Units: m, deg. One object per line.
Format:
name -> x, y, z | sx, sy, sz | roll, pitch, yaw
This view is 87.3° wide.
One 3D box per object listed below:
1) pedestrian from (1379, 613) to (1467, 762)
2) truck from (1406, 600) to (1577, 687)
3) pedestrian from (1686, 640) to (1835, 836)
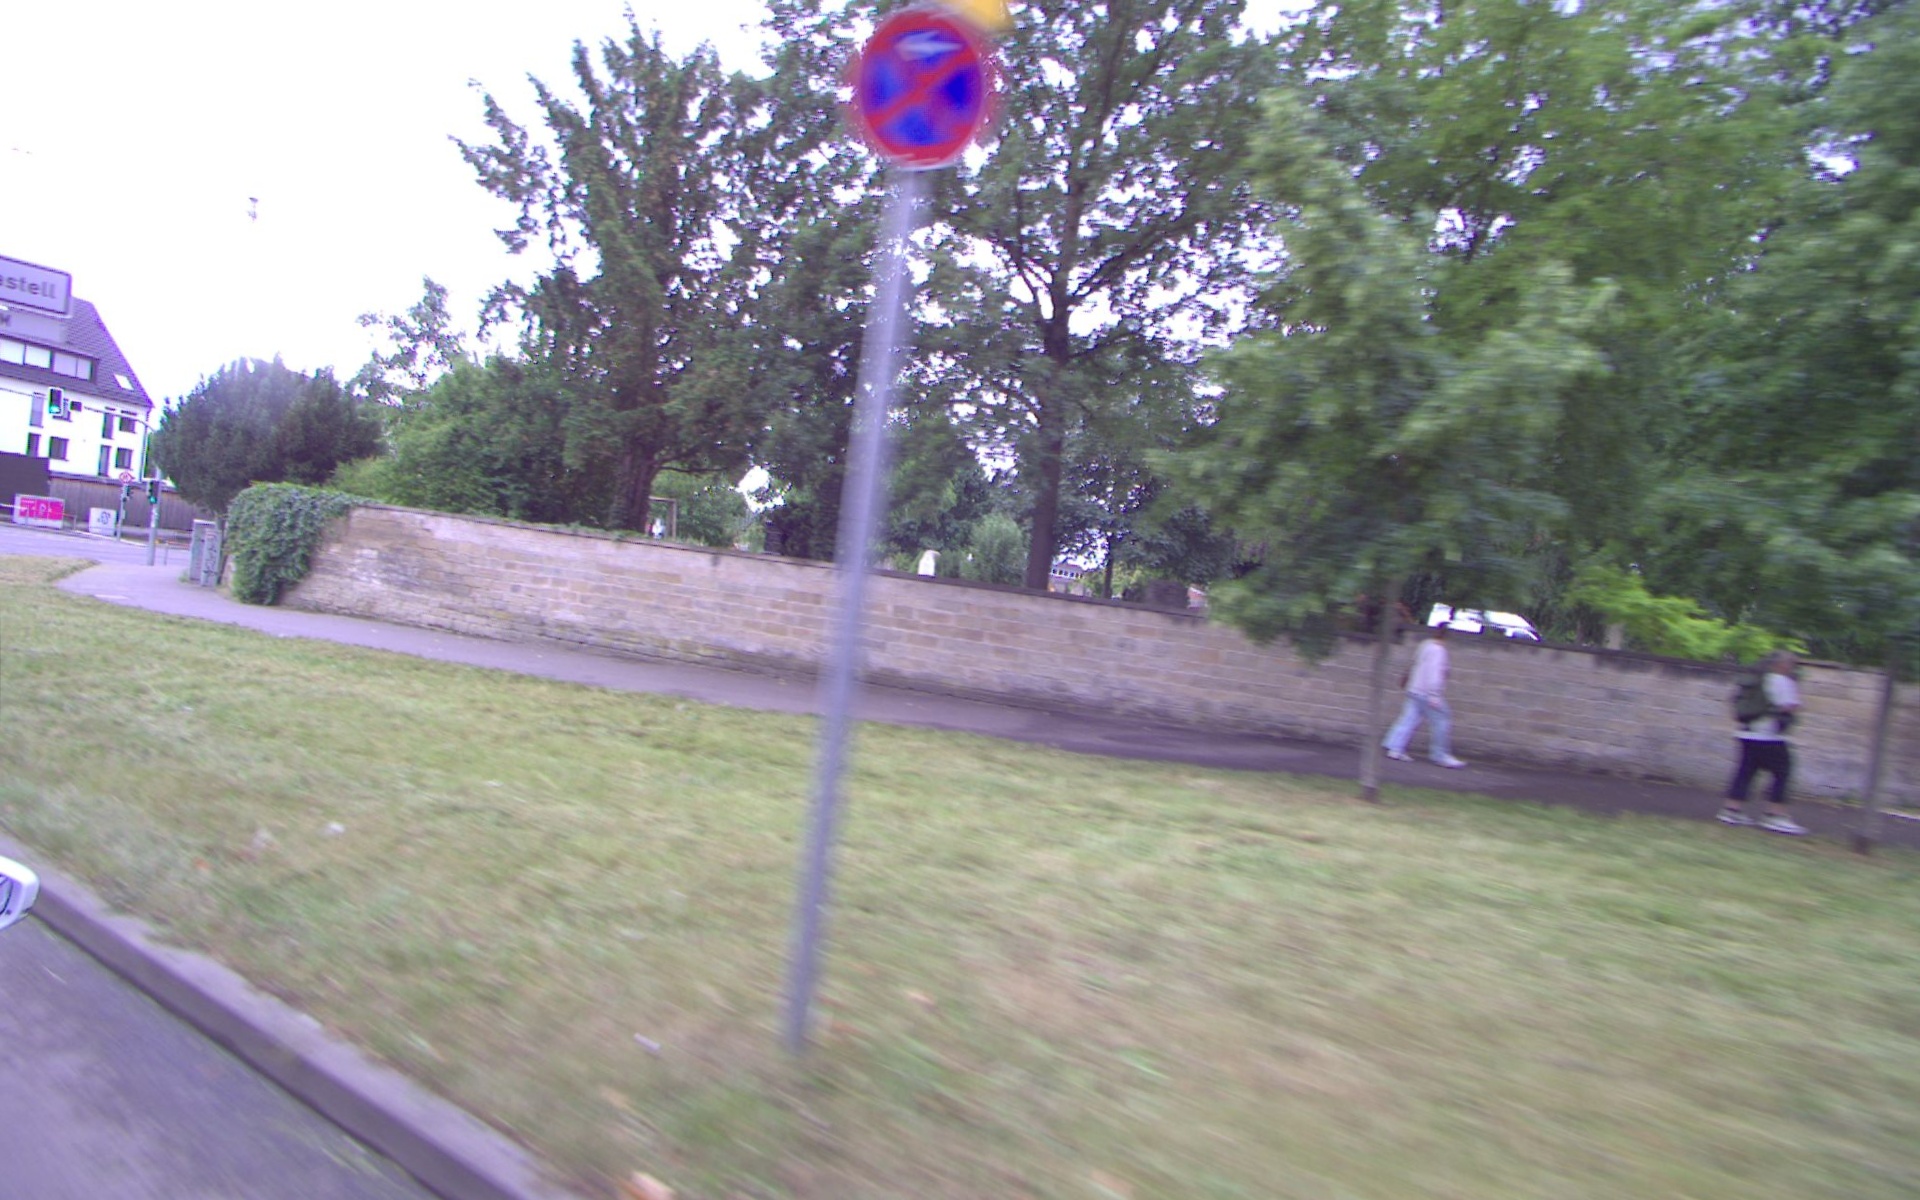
pedestrian -> 5.369, 0.998, 11.693 | 0.564, 1.607, 0.581 | 6, 3, 2
truck -> 21.985, 1.759, 41.766 | 5.684, 2.868, 2.214 | 6, -2, 41
pedestrian -> 7.828, 1.324, 9.874 | 0.649, 1.756, 0.711 | 7, 1, -2
